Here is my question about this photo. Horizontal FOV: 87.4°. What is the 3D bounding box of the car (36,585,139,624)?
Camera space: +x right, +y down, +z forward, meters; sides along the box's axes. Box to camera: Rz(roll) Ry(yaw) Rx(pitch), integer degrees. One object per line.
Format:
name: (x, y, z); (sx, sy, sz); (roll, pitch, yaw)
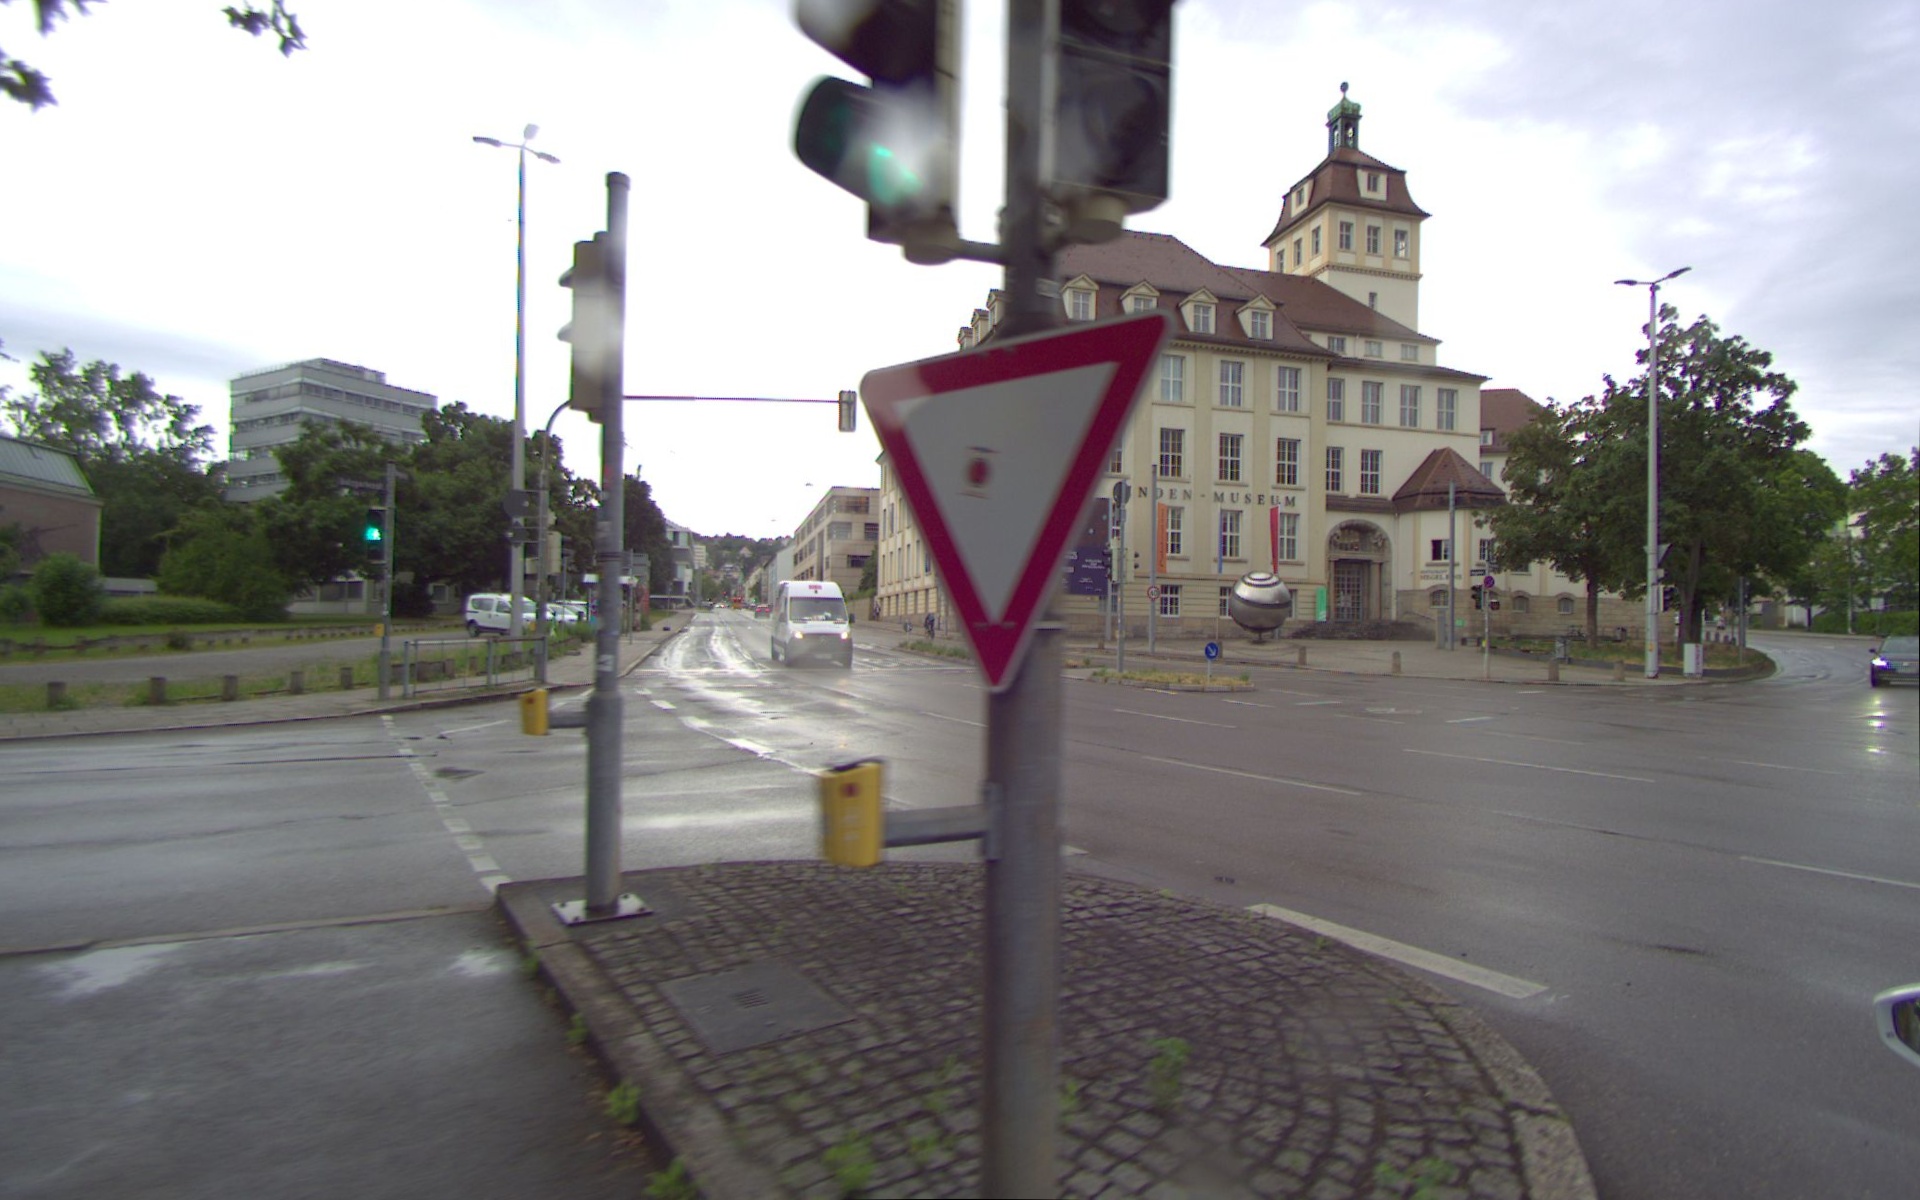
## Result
car: (-70.181, 0.384, 81.004); (3.537, 2.854, 6.448); (3, -1, -13)

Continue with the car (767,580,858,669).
car: (-4.806, 0.730, 31.957); (2.032, 2.527, 6.017); (0, 0, -16)

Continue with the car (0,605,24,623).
car: (-66.240, 0.896, 68.241); (3.496, 1.158, 1.588); (3, -1, -14)

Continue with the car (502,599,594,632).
car: (-20.330, 0.764, 49.635); (3.921, 1.434, 1.834); (3, -1, 19)

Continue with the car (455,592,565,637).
car: (-18.913, 0.620, 42.152); (4.423, 1.791, 1.832); (0, -2, 27)

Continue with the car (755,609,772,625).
car: (-23.316, 1.969, 119.295); (1.866, 1.647, 3.637); (3, 1, -12)

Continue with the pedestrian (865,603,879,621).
pedestrian: (-8.915, 1.208, 101.987); (1.222, 1.812, 1.592); (0, 0, -11)

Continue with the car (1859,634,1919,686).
car: (31.326, 1.960, 33.371); (4.246, 1.585, 1.850); (1, -2, -44)

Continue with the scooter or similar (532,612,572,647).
scooter or similar: (-14.481, 1.043, 35.712); (0.541, 1.182, 1.253); (3, -1, 23)

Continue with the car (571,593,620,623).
car: (-22.550, 0.538, 62.050); (1.836, 1.765, 4.035); (2, -2, -35)

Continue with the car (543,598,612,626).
car: (-22.305, 0.708, 58.563); (4.008, 1.461, 1.848); (2, -1, 36)

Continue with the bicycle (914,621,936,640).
bicycle: (-2.098, 1.815, 60.333); (0.639, 1.070, 1.809); (2, -1, -25)

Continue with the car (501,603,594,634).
car: (-20.385, 0.933, 49.667); (3.995, 1.461, 1.854); (0, -2, 20)

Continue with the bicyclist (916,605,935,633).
bicyclist: (-2.067, 1.135, 60.323); (0.693, 1.654, 1.121); (3, 0, -25)

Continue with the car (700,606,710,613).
car: (-52.623, 1.914, 207.339); (1.812, 1.252, 3.408); (3, 1, -11)
